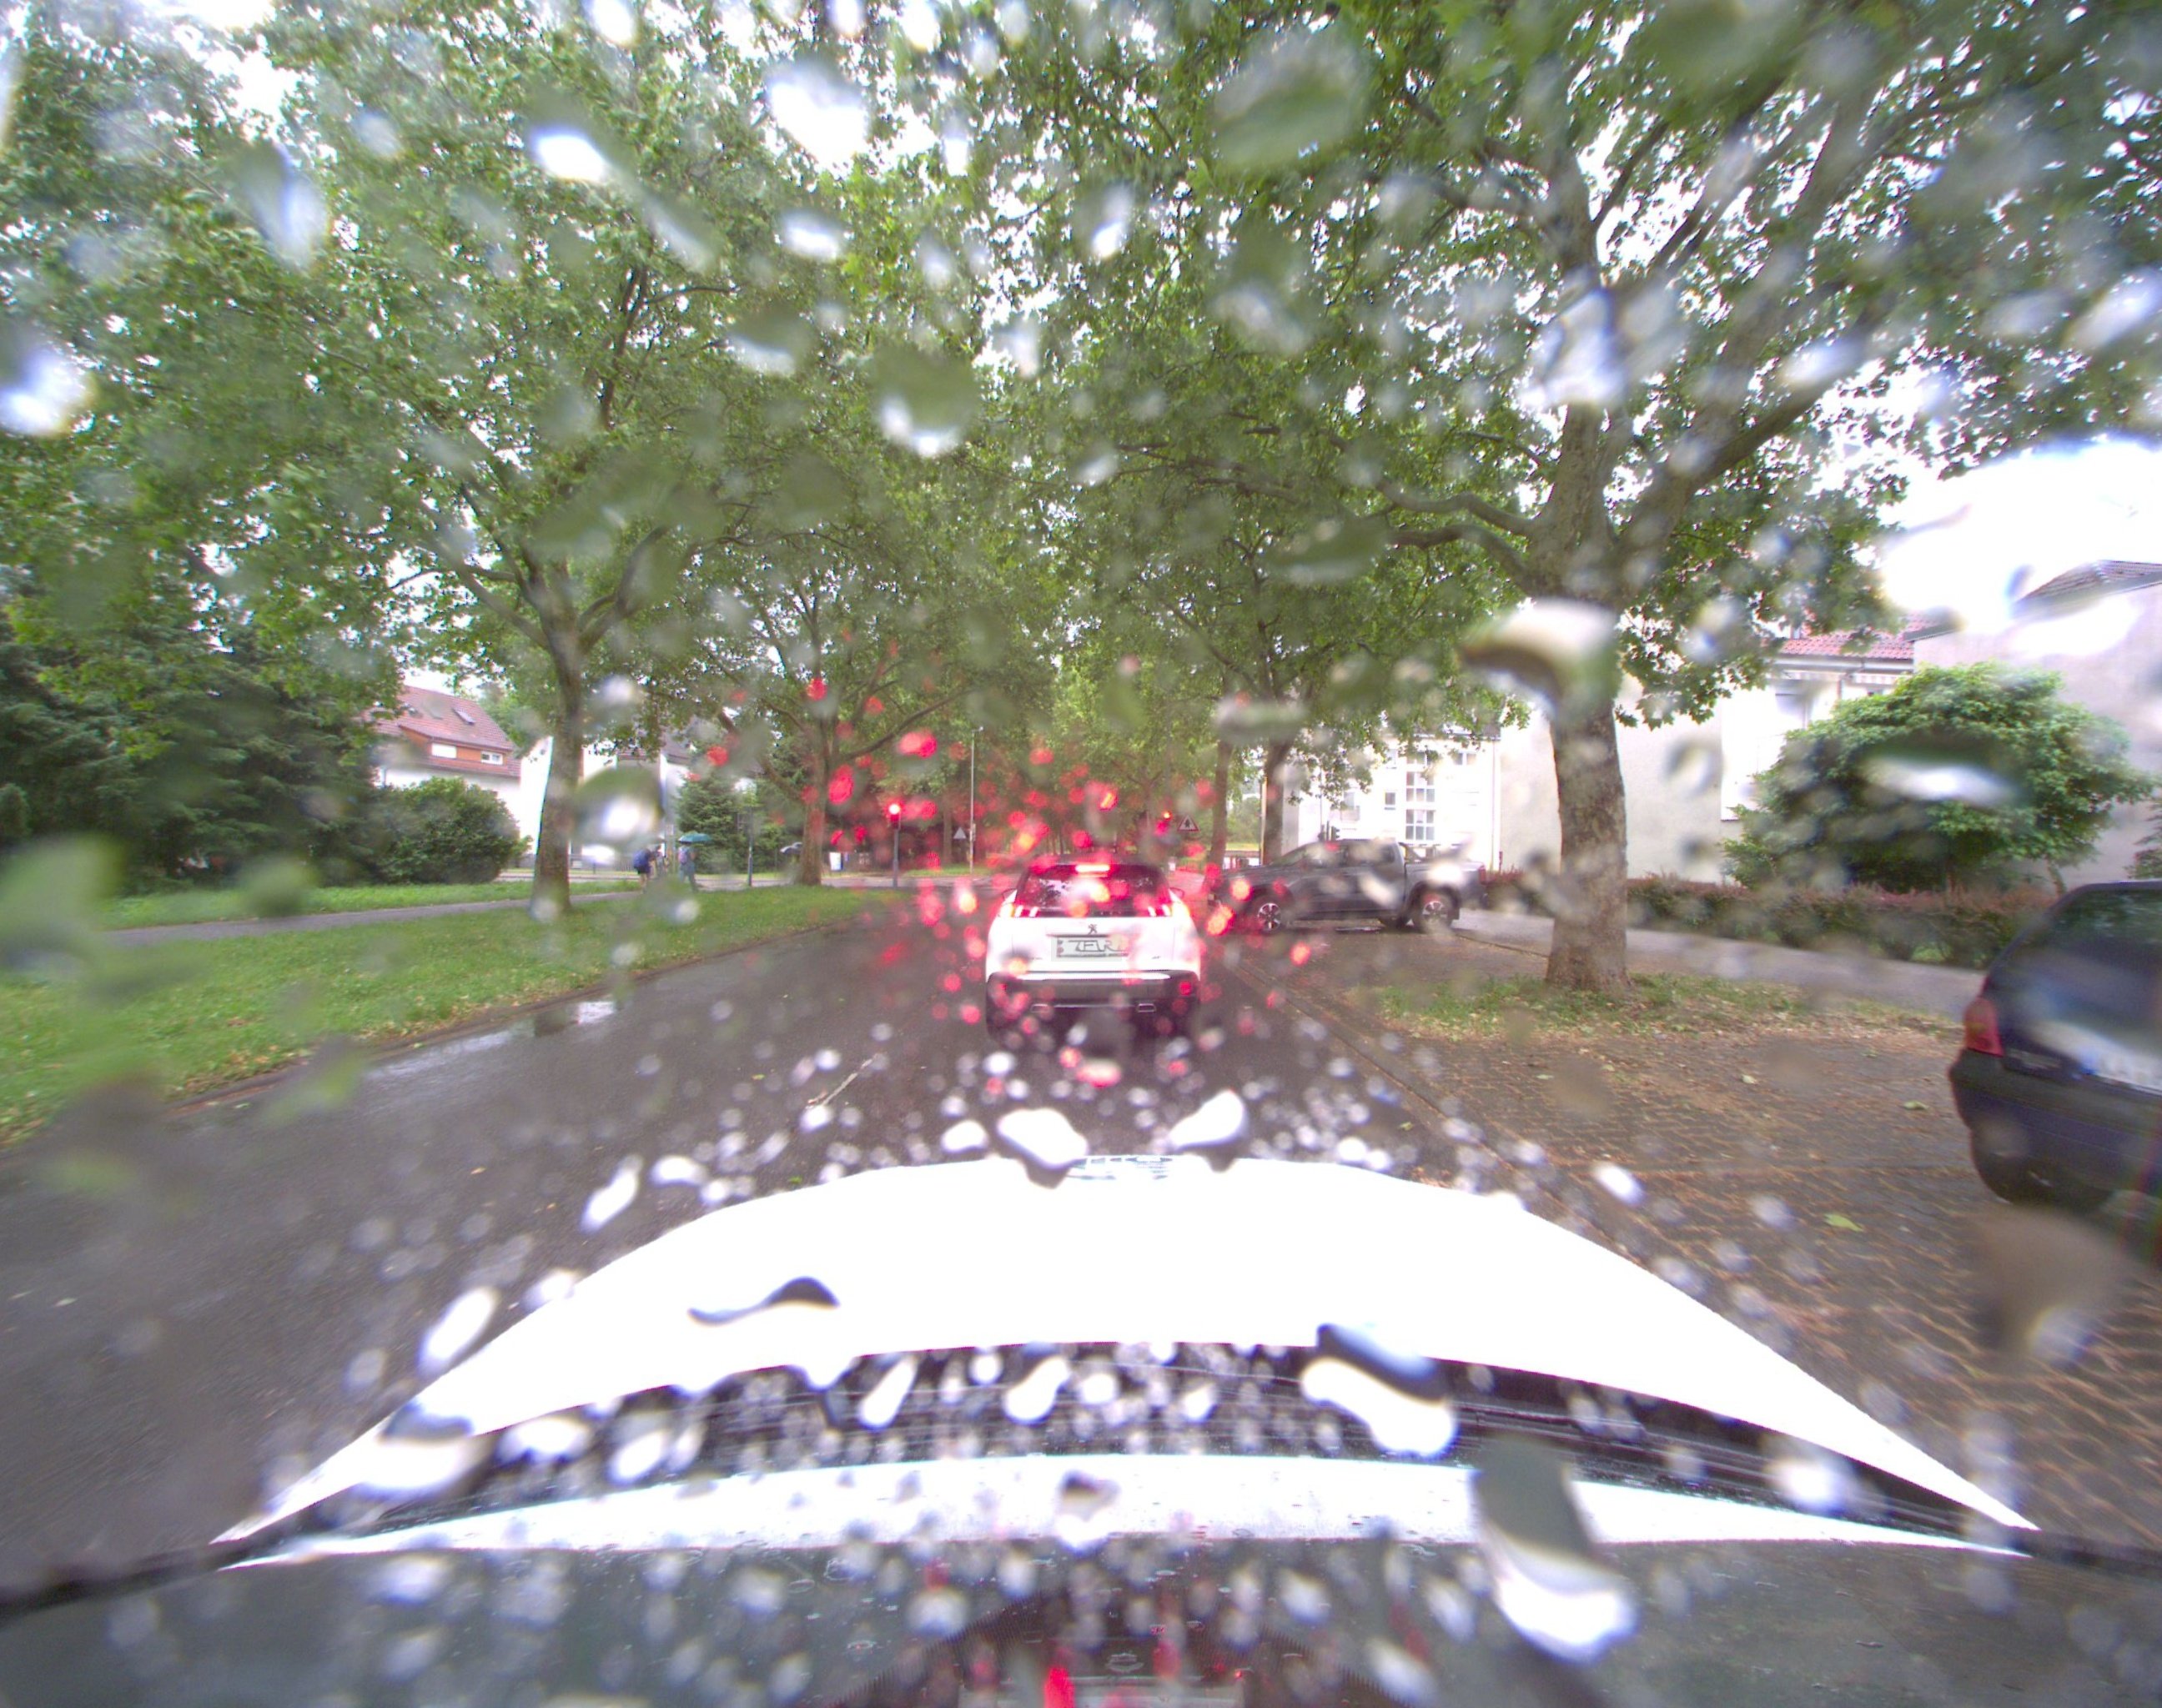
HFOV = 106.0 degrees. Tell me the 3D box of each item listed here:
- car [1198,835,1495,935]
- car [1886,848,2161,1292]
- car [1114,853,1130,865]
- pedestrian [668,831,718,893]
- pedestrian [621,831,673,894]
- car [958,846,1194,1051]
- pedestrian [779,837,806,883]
[{"bbox_3d":[5.145,0.558,16.158,5.330,1.807,1.842,0,0,-6],"label":"car"},{"bbox_3d":[5.239,0.721,2.816,3.344,1.464,1.618,0,0,0],"label":"car"},{"bbox_3d":[5.641,0.668,112.069,1.901,1.510,3.928,1,0,-2],"label":"car"},{"bbox_3d":[-11.211,0.214,23.558,1.029,1.765,0.838,0,0,1],"label":"pedestrian"},{"bbox_3d":[-12.531,0.239,23.534,1.029,1.765,0.879,0,0,1],"label":"pedestrian"},{"bbox_3d":[0.012,0.700,8.145,1.774,1.536,4.059,0,0,1],"label":"car"},{"bbox_3d":[-11.245,0.225,31.786,0.818,1.744,0.639,1,0,-2],"label":"pedestrian"}]
